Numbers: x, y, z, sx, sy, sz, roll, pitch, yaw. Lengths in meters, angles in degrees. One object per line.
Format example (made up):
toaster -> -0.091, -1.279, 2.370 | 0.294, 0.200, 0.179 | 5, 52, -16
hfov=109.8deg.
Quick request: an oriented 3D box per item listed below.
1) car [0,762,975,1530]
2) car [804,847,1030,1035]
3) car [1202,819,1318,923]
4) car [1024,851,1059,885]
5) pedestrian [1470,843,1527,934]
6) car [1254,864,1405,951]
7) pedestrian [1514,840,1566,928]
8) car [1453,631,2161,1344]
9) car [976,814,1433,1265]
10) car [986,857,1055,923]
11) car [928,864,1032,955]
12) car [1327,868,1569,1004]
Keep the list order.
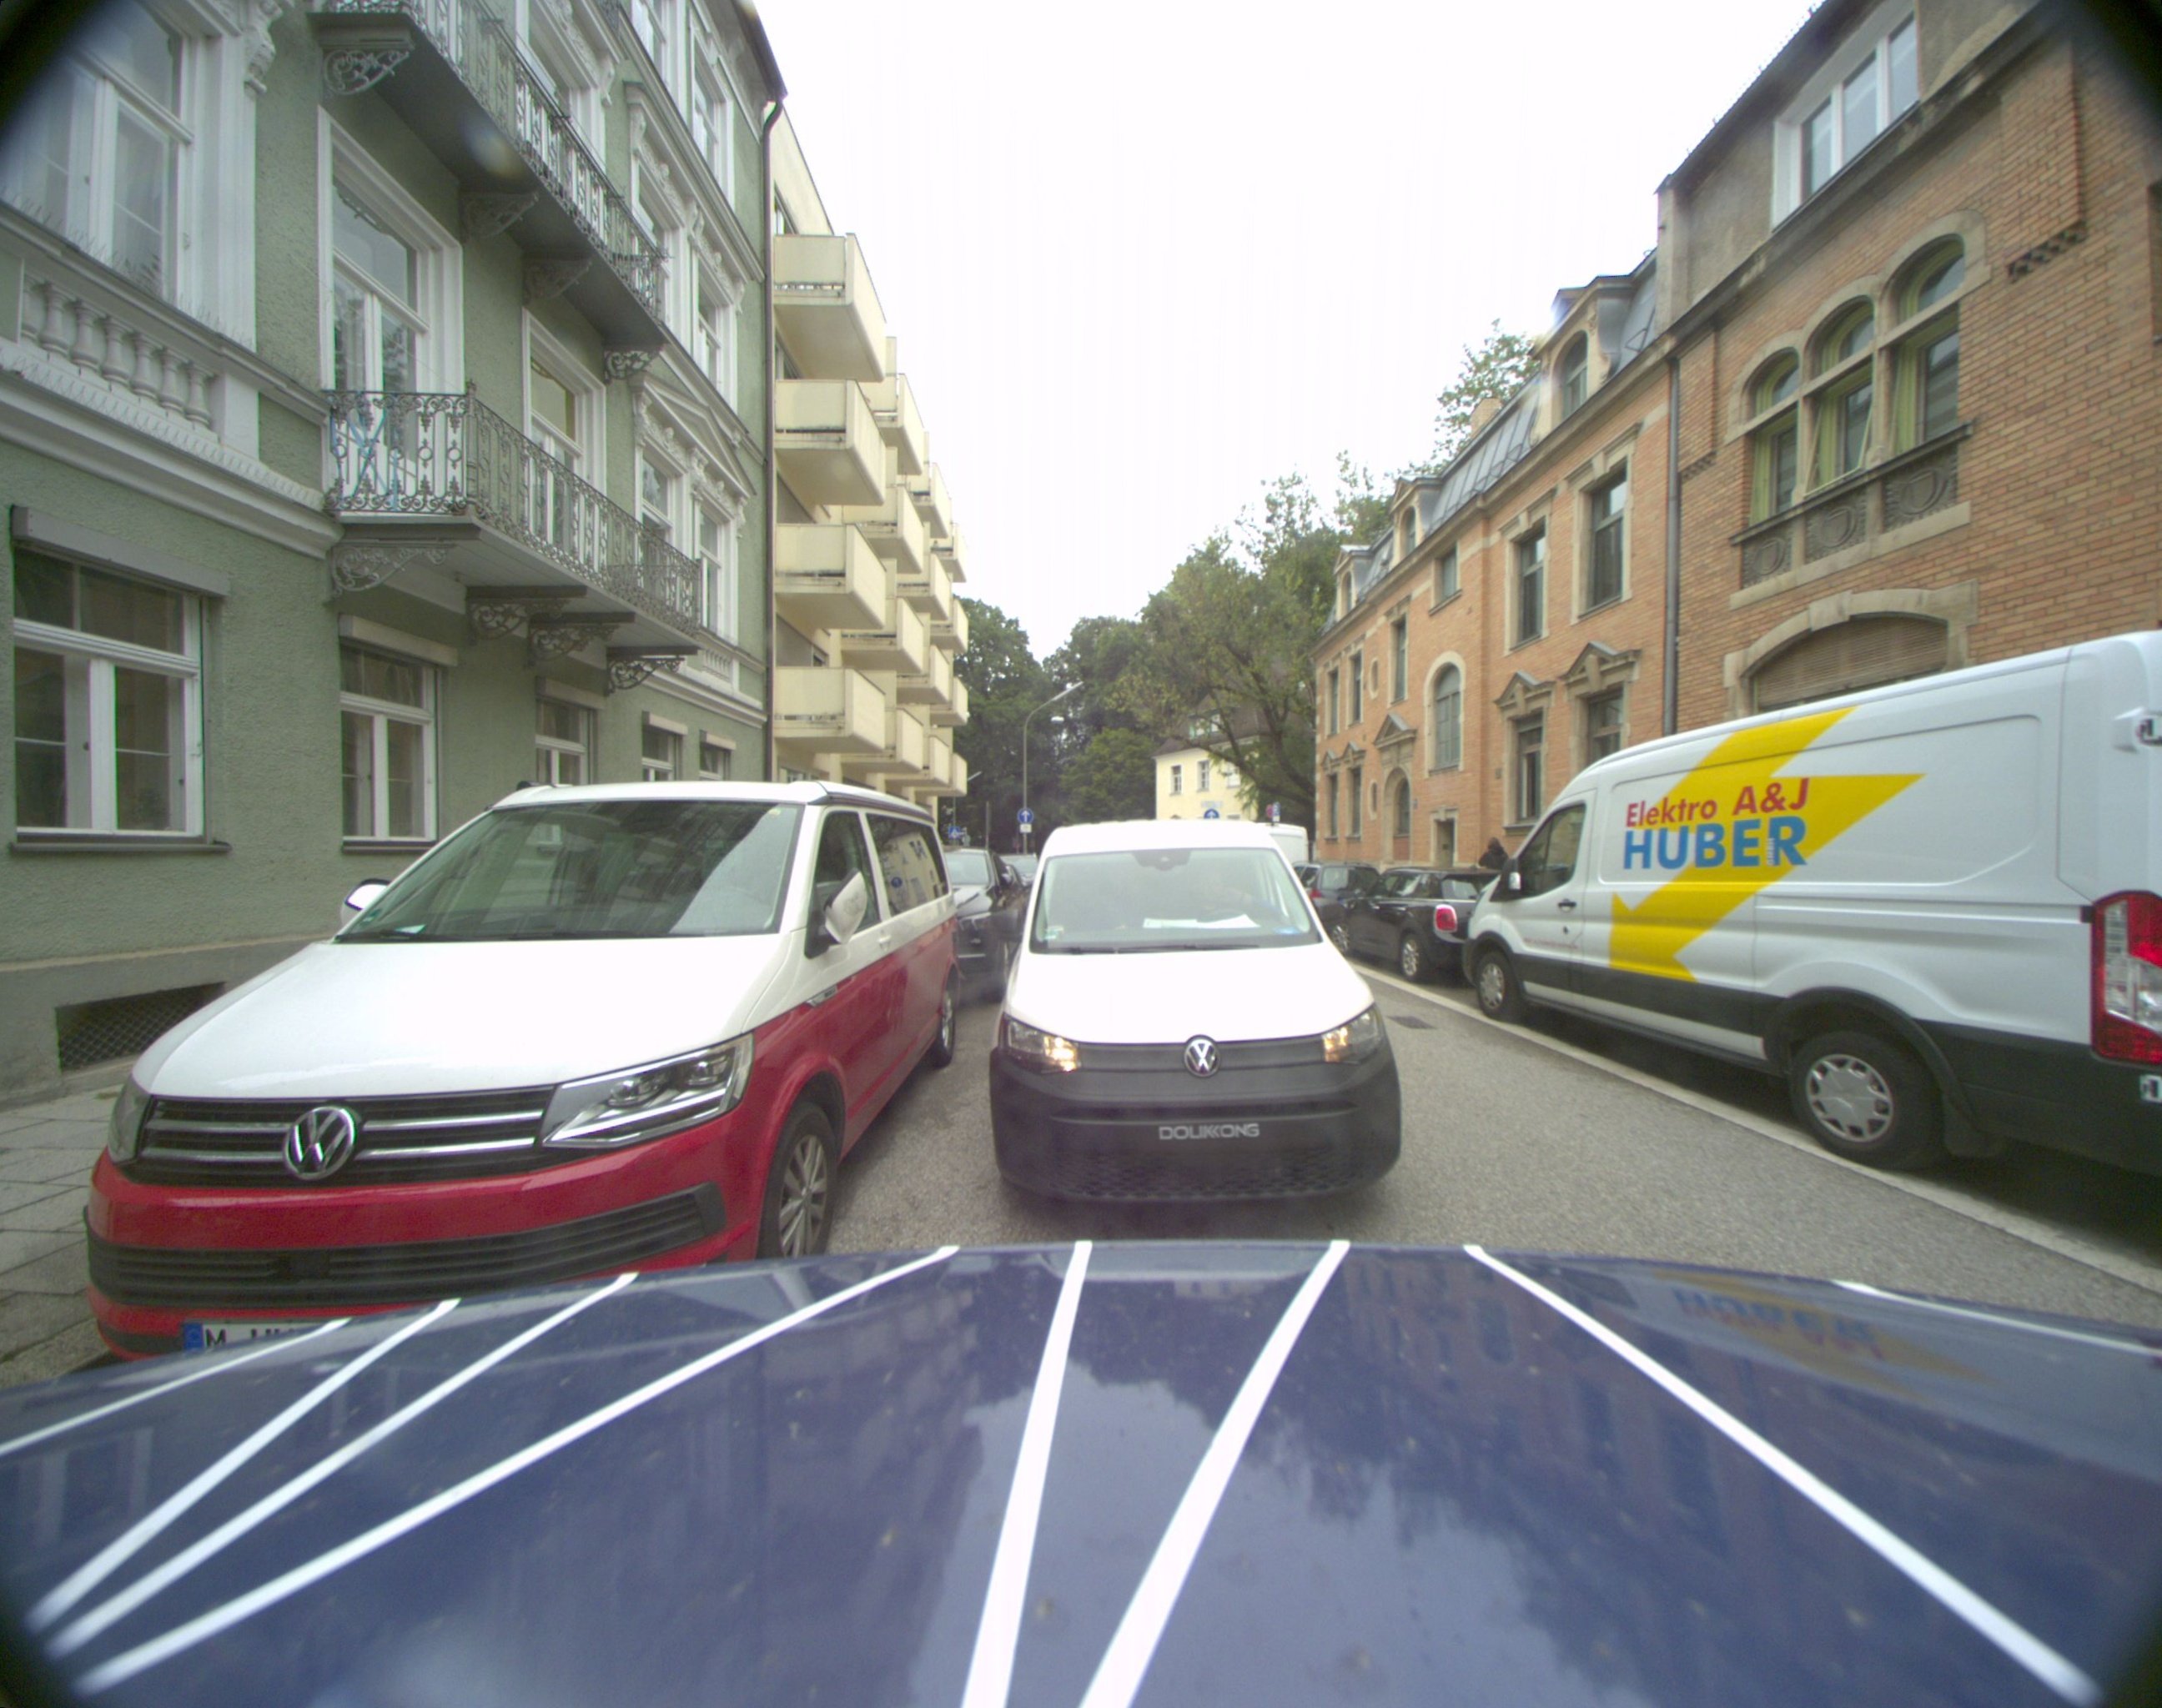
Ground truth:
car -> -1.912, 0.746, 4.217 | 1.858, 1.885, 4.591 | -2, 0, 1
car -> -1.726, 0.851, 9.597 | 1.832, 1.747, 4.553 | -2, 0, 0
car -> 4.830, 0.436, 21.223 | 2.118, 2.525, 4.421 | 3, 0, 0
car -> -2.120, 0.725, 41.855 | 1.766, 1.740, 3.999 | 1, 0, -1
pedestrian -> 7.732, 0.628, 14.101 | 0.634, 1.623, 0.675 | 2, 1, 0
car -> 4.857, 0.969, 15.432 | 1.694, 1.434, 3.984 | 2, 0, -1
pedestrian -> 8.646, 0.561, 14.334 | 0.634, 1.623, 0.467 | 2, 1, 0
car -> 4.764, 0.462, 5.074 | 1.986, 2.463, 5.222 | 1, 0, 1
car -> 0.506, 0.720, 4.972 | 1.776, 1.761, 4.000 | 0, 0, 1
car -> -1.591, 0.913, 20.997 | 1.551, 1.562, 3.977 | -2, 0, 0
car -> -1.911, 1.011, 15.459 | 1.551, 1.488, 3.977 | -2, 0, 0
car -> 4.727, 0.956, 10.365 | 1.527, 1.434, 3.540 | 2, 0, -1
